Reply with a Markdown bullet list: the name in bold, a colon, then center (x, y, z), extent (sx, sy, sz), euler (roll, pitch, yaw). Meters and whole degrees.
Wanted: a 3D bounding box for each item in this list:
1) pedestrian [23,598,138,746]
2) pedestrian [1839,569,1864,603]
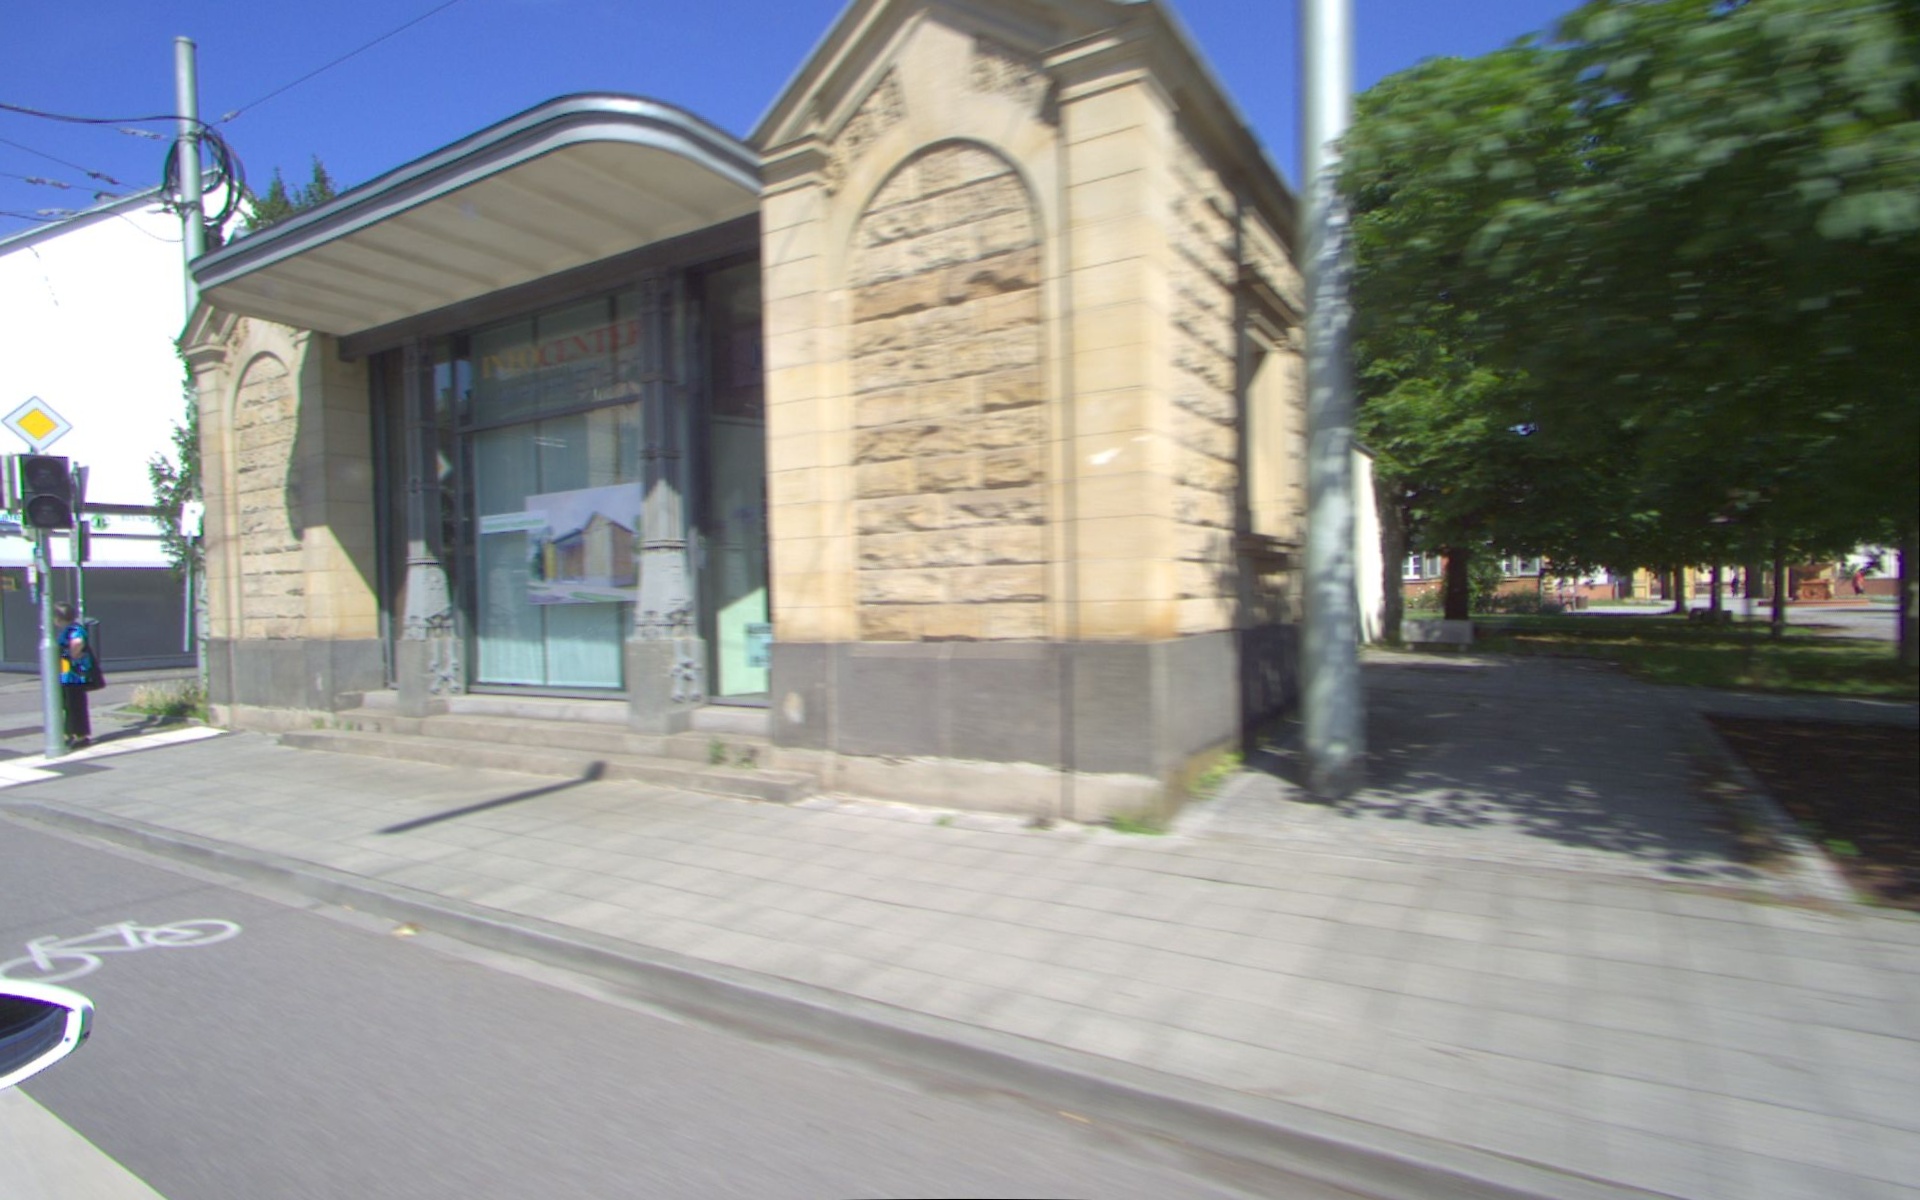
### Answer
- **pedestrian**: center (-9.638, 0.758, 10.981), extent (0.848, 1.530, 0.776), euler (0, 2, 39)
- **pedestrian**: center (42.456, -0.662, 47.713), extent (0.734, 1.622, 0.619), euler (-1, 1, 25)
